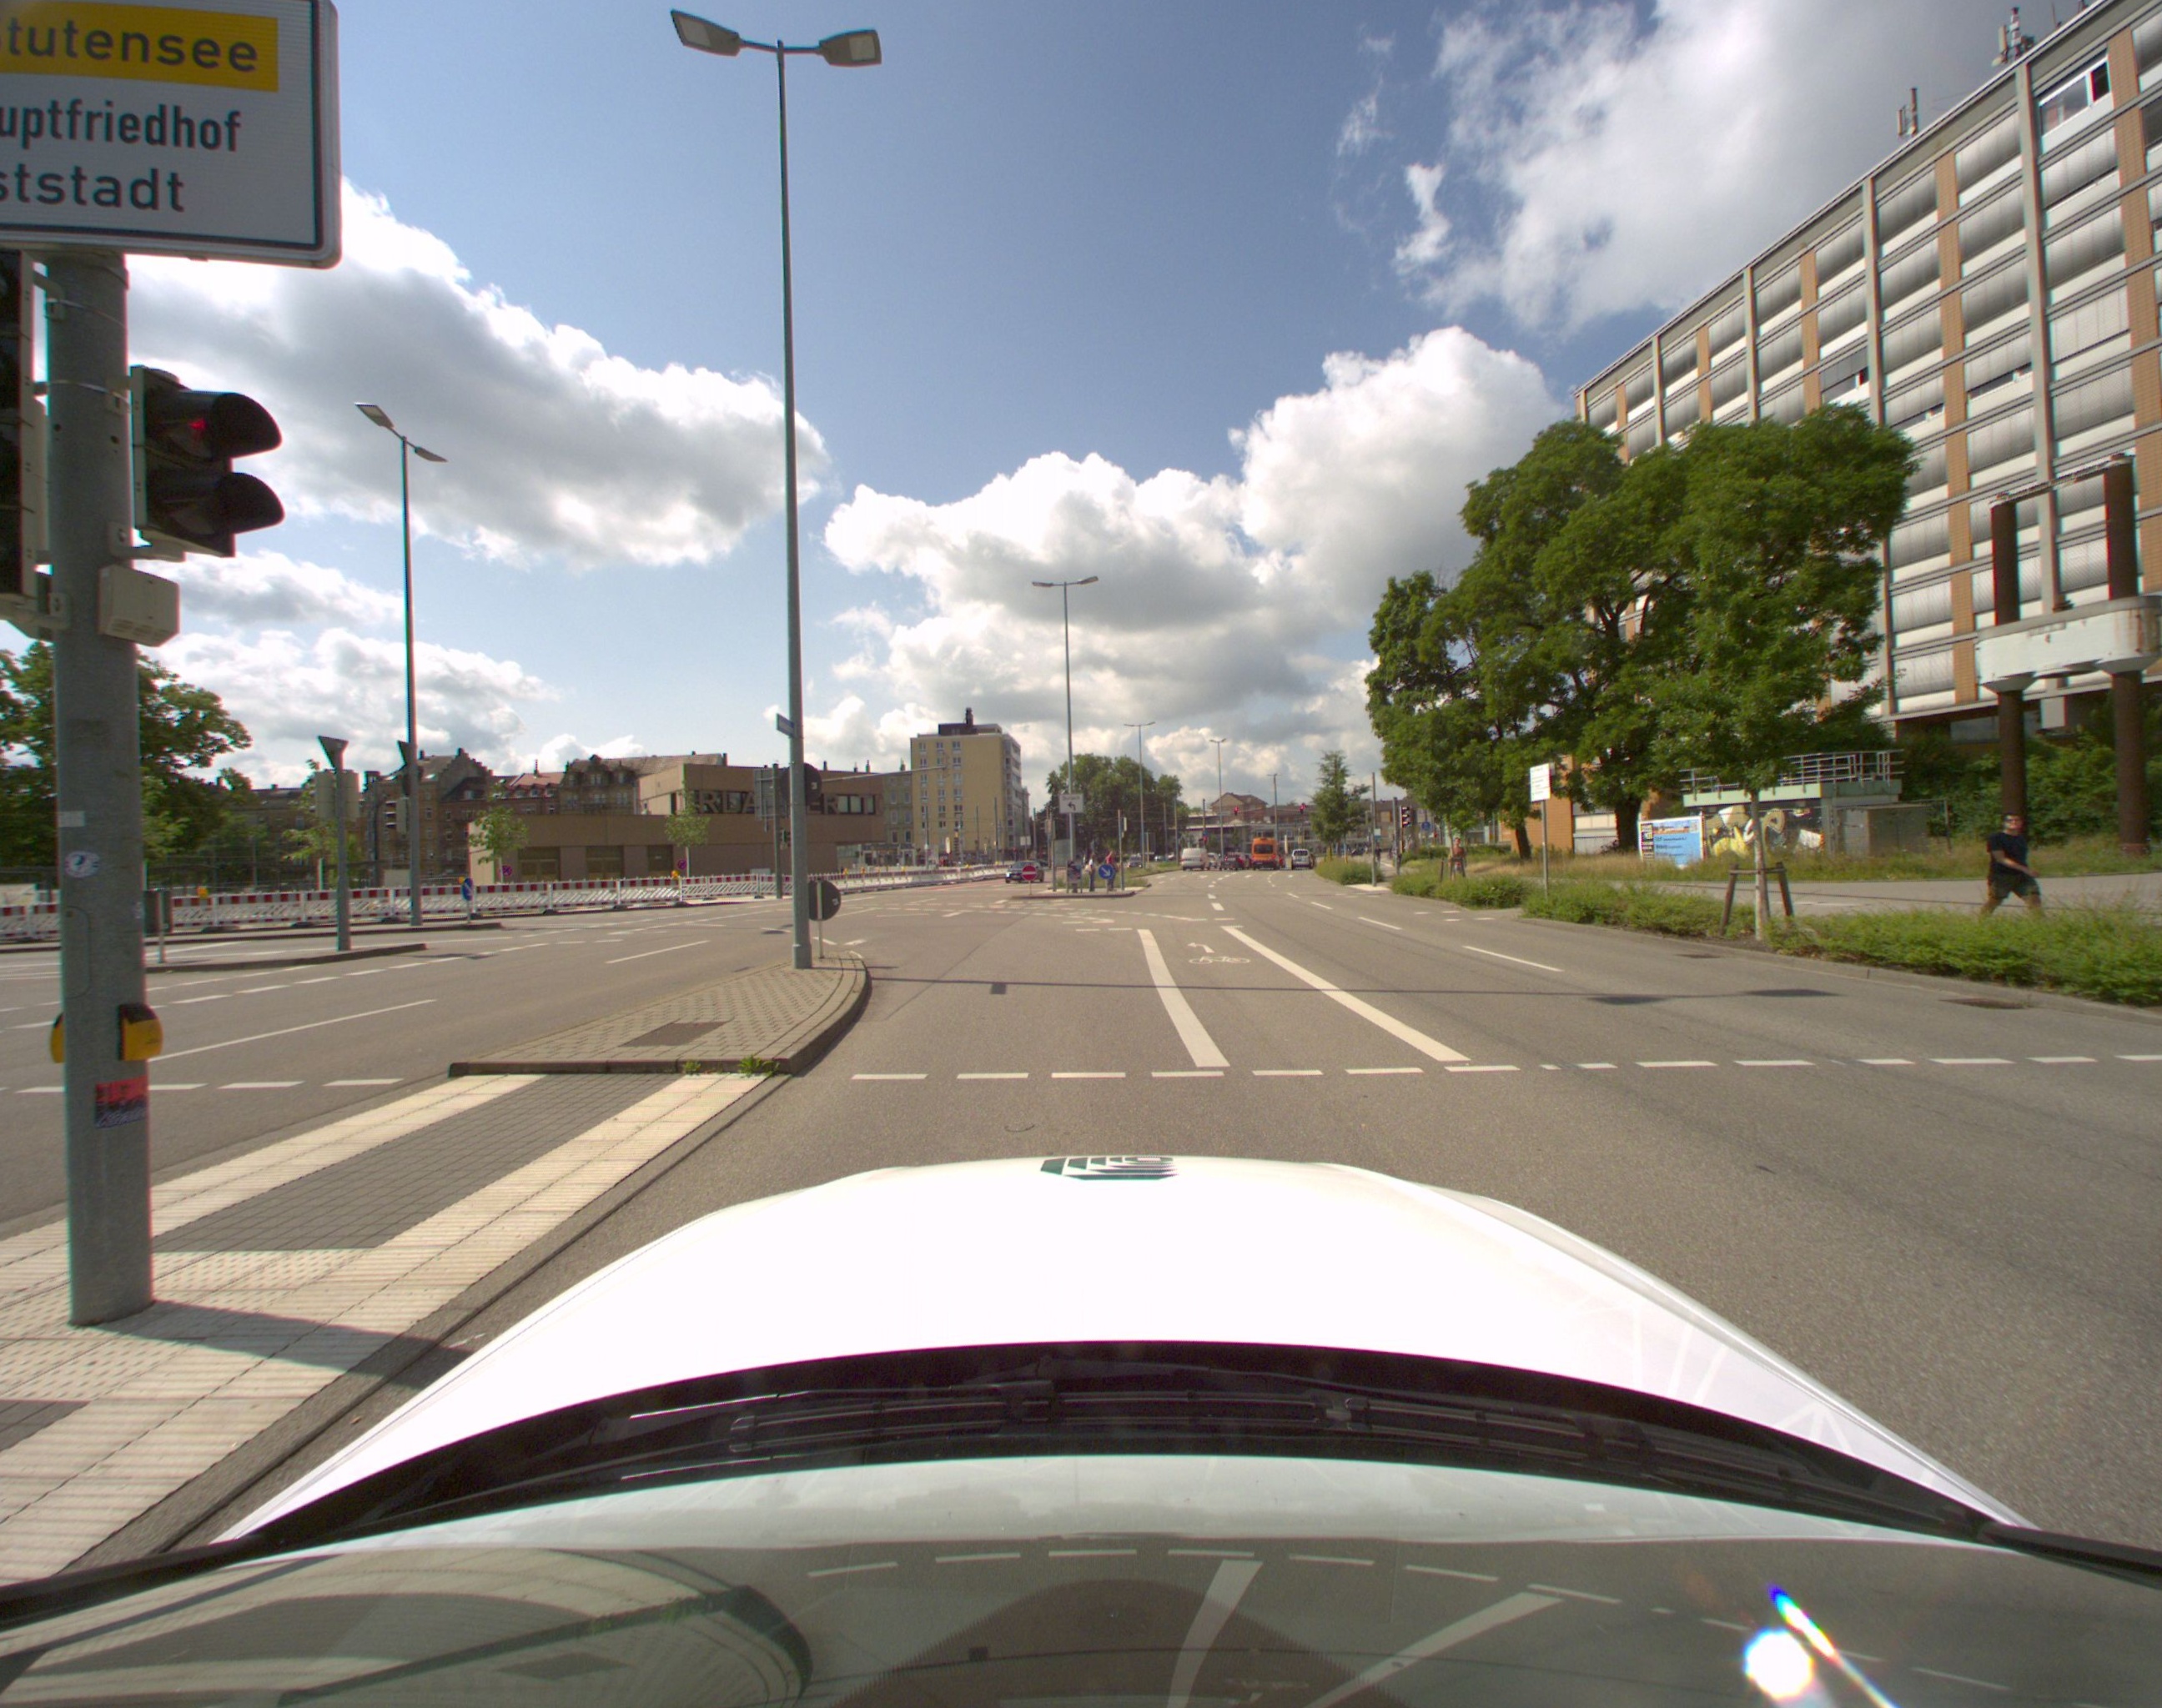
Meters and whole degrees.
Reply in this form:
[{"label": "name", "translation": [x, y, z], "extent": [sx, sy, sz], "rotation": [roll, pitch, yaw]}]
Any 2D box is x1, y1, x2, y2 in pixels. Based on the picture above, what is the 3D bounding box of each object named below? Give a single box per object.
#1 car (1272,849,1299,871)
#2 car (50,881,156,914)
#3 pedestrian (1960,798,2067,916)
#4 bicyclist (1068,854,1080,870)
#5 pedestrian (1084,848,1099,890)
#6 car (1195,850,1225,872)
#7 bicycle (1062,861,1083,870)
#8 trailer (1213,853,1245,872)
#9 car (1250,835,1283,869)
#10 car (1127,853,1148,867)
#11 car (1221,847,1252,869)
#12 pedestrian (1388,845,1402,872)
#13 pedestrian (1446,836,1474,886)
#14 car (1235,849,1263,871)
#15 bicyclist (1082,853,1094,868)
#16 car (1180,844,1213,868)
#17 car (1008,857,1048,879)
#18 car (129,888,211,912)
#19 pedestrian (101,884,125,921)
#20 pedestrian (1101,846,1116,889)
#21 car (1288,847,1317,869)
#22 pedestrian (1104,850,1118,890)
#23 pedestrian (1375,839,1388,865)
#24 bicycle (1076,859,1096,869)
[{"label": "car", "translation": [19.766, 0.523, 78.666], "extent": [1.975, 1.938, 4.662], "rotation": [-3, 0, 19]}, {"label": "car", "translation": [-63.789, 2.803, 53.240], "extent": [4.204, 1.882, 1.781], "rotation": [-2, -1, -43]}, {"label": "pedestrian", "translation": [12.457, 0.038, 10.895], "extent": [0.767, 1.508, 0.552], "rotation": [-2, 0, 0]}, {"label": "bicyclist", "translation": [-0.809, 0.928, 95.994], "extent": [1.210, 1.909, 0.862], "rotation": [-2, 0, 16]}, {"label": "pedestrian", "translation": [0.437, 0.615, 33.885], "extent": [0.522, 1.733, 0.624], "rotation": [-2, 0, 5]}, {"label": "car", "translation": [12.659, 0.668, 79.831], "extent": [1.975, 1.938, 4.662], "rotation": [-3, 0, 19]}, {"label": "bicycle", "translation": [-0.988, 1.358, 96.044], "extent": [2.361, 1.066, 0.862], "rotation": [-2, 0, 16]}, {"label": "trailer", "translation": [12.718, 0.689, 69.806], "extent": [1.976, 1.477, 4.021], "rotation": [-3, 0, 21]}, {"label": "car", "translation": [16.061, -0.195, 70.497], "extent": [2.112, 2.780, 4.662], "rotation": [-3, 0, 19]}, {"label": "car", "translation": [6.241, 0.607, 89.389], "extent": [1.650, 1.480, 4.076], "rotation": [1, 0, 13]}, {"label": "car", "translation": [13.942, 0.344, 73.030], "extent": [1.976, 1.826, 4.021], "rotation": [-3, 0, 21]}, {"label": "pedestrian", "translation": [20.963, 0.323, 54.394], "extent": [0.782, 1.784, 0.670], "rotation": [-2, -1, 17]}, {"label": "pedestrian", "translation": [13.230, 0.242, 28.426], "extent": [0.657, 1.733, 0.578], "rotation": [-2, 0, 3]}, {"label": "car", "translation": [16.453, 0.578, 79.453], "extent": [1.975, 1.938, 4.662], "rotation": [-3, 0, 19]}, {"label": "bicyclist", "translation": [0.877, 0.801, 100.756], "extent": [1.210, 1.909, 0.838], "rotation": [-2, 0, 16]}, {"label": "car", "translation": [10.286, 0.181, 72.201], "extent": [1.989, 1.966, 4.662], "rotation": [-3, 0, 19]}, {"label": "car", "translation": [-3.431, 0.887, 53.501], "extent": [1.782, 1.388, 4.237], "rotation": [-2, 0, 8]}, {"label": "car", "translation": [-79.369, 3.996, 71.022], "extent": [4.389, 1.793, 1.764], "rotation": [-2, -1, -34]}, {"label": "pedestrian", "translation": [-54.656, 2.747, 45.975], "extent": [0.767, 2.014, 0.741], "rotation": [-1, -1, -45]}, {"label": "pedestrian", "translation": [1.126, 0.545, 32.907], "extent": [0.522, 1.733, 0.624], "rotation": [-2, 0, 5]}, {"label": "car", "translation": [19.473, 0.319, 71.628], "extent": [1.976, 1.795, 4.021], "rotation": [-3, 0, 21]}, {"label": "pedestrian", "translation": [1.303, 0.683, 35.090], "extent": [0.522, 1.684, 0.624], "rotation": [-2, 0, 5]}, {"label": "pedestrian", "translation": [21.693, -0.146, 58.829], "extent": [0.781, 1.784, 0.670], "rotation": [-2, -1, 18]}, {"label": "bicycle", "translation": [0.647, 1.240, 100.814], "extent": [2.361, 1.066, 0.846], "rotation": [-2, 0, 16]}]
